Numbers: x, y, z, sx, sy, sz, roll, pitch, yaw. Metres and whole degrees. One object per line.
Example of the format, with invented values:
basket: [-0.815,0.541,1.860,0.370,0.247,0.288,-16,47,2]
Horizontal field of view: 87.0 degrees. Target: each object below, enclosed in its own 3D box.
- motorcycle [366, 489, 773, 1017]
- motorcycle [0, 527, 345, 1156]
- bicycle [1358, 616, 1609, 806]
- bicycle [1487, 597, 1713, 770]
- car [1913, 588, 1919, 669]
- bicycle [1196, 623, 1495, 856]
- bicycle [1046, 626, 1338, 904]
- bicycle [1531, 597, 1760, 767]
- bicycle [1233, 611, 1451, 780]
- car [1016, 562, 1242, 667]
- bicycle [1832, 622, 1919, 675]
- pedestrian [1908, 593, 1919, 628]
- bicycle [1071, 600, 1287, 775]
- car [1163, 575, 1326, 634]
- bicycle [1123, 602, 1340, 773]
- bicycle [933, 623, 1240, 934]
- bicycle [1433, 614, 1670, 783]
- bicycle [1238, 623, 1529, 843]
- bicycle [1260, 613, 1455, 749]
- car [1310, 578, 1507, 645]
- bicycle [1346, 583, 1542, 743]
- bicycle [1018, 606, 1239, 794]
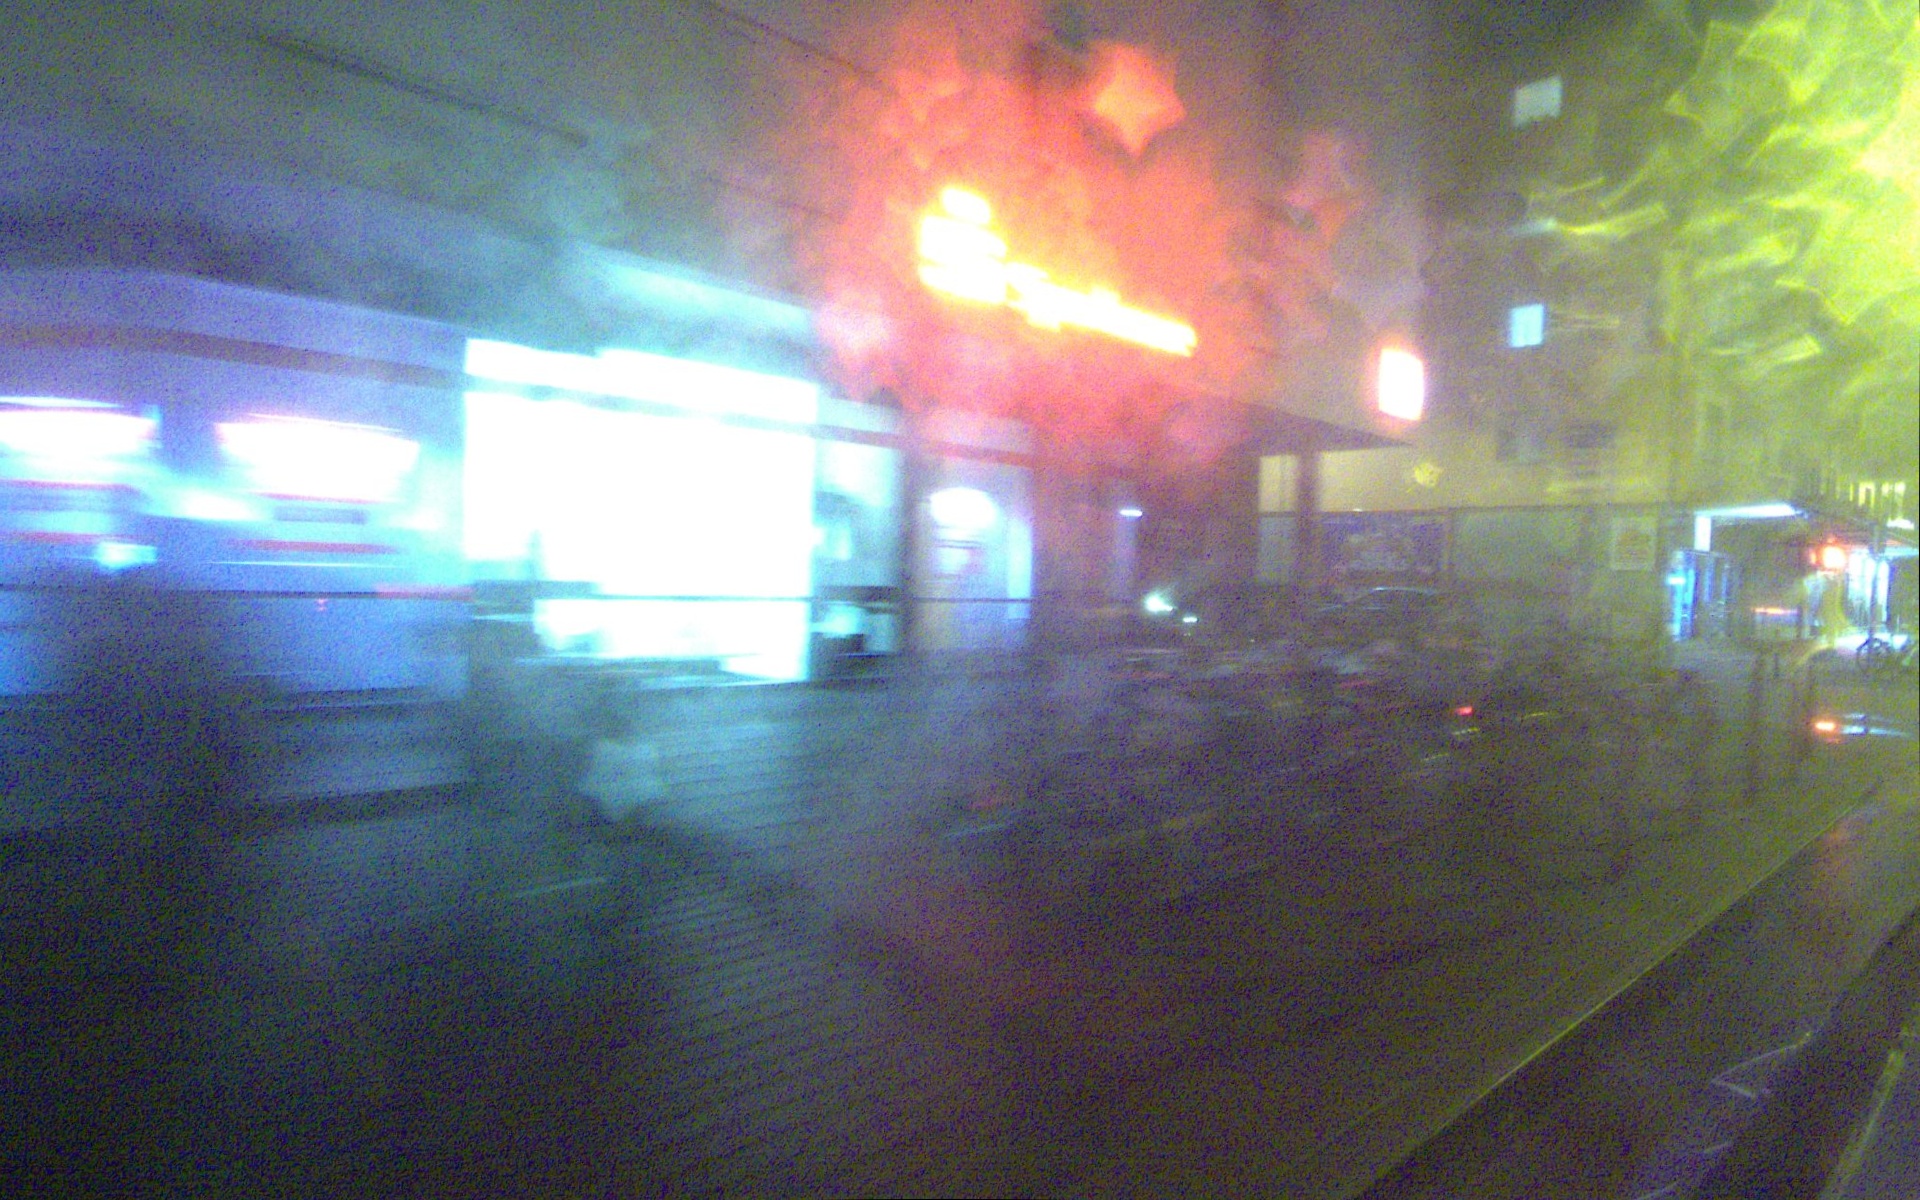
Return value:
motorcycle: [-1.733,0.386,4.176,0.851,1.565,2.179,0,6,-40]
motorcycle: [-2.706,0.507,3.293,0.851,1.334,2.179,0,6,-40]
bicycle: [3.774,0.754,7.423,0.359,1.035,1.535,0,8,-36]
bicycle: [5.610,0.682,8.961,0.360,1.216,1.533,-1,8,-41]
car: [22.664,0.662,22.500,3.788,1.743,1.676,0,3,-40]
bicycle: [2.166,0.737,5.869,0.360,0.963,1.532,-1,9,-44]
bicycle: [1.077,0.735,5.079,0.359,0.963,1.537,1,7,-33]
bicycle: [6.088,0.680,9.081,0.359,1.216,1.535,0,8,-37]
bicycle: [2.885,0.680,7.801,0.359,0.963,1.535,0,8,-36]
car: [3.148,0.220,19.563,1.809,1.792,4.154,1,0,-39]
bicycle: [18.414,0.959,19.666,0.605,0.905,2.279,2,2,-11]
pedestrian: [53.367,0.580,56.326,0.764,1.925,0.776,0,0,-40]
bicycle: [1.565,0.590,7.458,0.360,0.963,1.531,-1,9,-45]
car: [7.834,0.109,28.119,1.964,1.527,3.995,0,0,-39]
bicycle: [1.992,0.604,7.615,0.360,0.963,1.532,-1,9,-44]
bicycle: [0.494,0.719,4.734,0.359,0.963,1.678,1,7,-33]
bicycle: [4.760,0.747,8.245,0.360,1.035,1.533,-1,8,-41]
bicycle: [2.510,0.743,6.161,0.360,0.963,1.532,-1,9,-44]
bicycle: [3.339,0.644,8.636,0.319,0.843,1.535,0,8,-36]
car: [10.858,0.227,24.729,1.861,1.504,3.996,1,1,-39]
bicycle: [4.512,0.544,9.537,0.360,1.216,1.533,-1,8,-41]
bicycle: [1.116,0.636,7.021,0.360,0.963,1.532,-1,9,-44]
